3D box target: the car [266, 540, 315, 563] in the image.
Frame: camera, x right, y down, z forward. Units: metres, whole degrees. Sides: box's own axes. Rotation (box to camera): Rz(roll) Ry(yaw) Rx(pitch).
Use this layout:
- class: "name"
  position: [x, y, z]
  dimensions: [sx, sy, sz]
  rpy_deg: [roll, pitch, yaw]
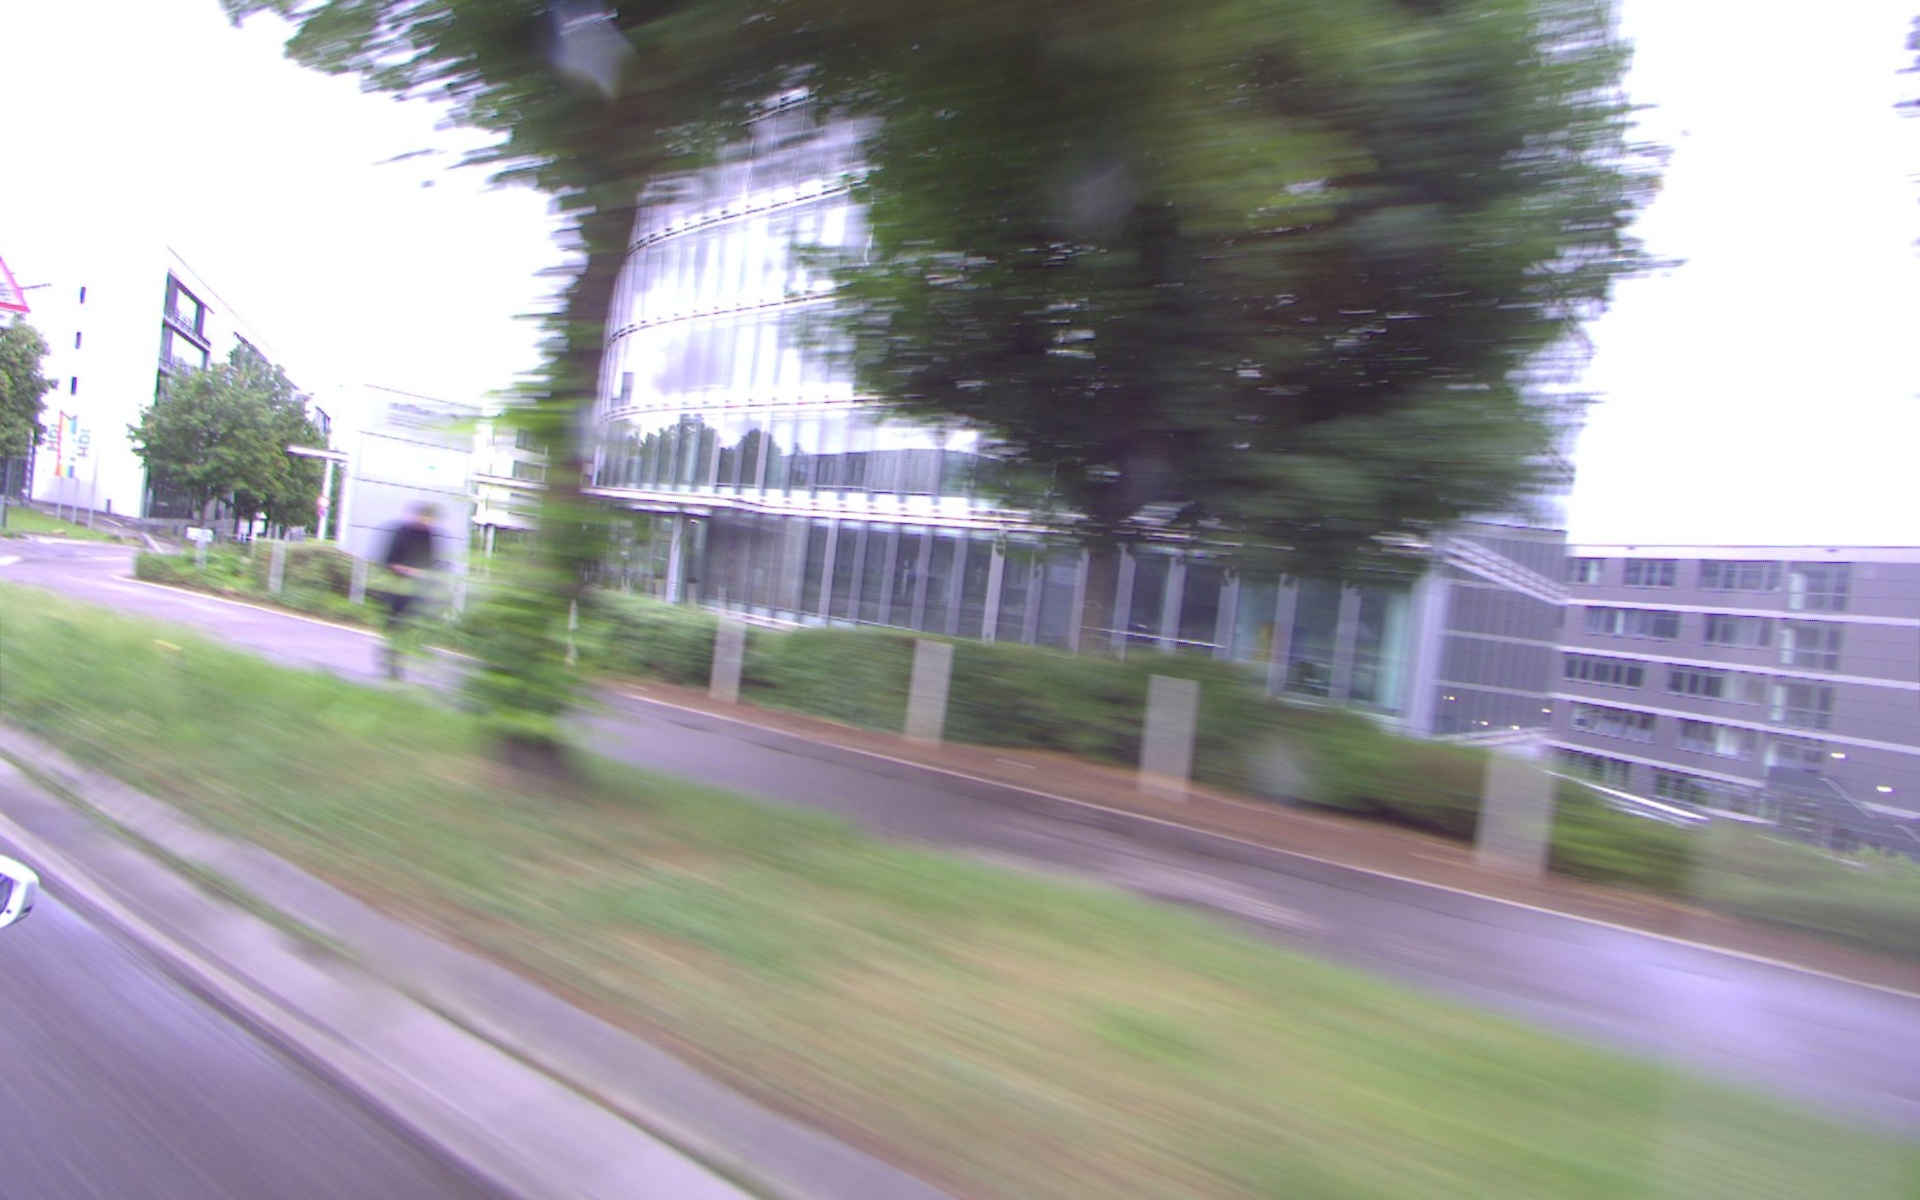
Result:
- class: "car"
  position: [-69.007, -4.973, 103.717]
  dimensions: [3.966, 1.738, 1.980]
  rpy_deg: [8, 0, -37]

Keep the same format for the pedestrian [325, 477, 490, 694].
- class: "pedestrian"
  position: [-5.000, -0.113, 9.115]
  dimensions: [0.853, 1.819, 0.827]
  rpy_deg: [7, 0, 32]
